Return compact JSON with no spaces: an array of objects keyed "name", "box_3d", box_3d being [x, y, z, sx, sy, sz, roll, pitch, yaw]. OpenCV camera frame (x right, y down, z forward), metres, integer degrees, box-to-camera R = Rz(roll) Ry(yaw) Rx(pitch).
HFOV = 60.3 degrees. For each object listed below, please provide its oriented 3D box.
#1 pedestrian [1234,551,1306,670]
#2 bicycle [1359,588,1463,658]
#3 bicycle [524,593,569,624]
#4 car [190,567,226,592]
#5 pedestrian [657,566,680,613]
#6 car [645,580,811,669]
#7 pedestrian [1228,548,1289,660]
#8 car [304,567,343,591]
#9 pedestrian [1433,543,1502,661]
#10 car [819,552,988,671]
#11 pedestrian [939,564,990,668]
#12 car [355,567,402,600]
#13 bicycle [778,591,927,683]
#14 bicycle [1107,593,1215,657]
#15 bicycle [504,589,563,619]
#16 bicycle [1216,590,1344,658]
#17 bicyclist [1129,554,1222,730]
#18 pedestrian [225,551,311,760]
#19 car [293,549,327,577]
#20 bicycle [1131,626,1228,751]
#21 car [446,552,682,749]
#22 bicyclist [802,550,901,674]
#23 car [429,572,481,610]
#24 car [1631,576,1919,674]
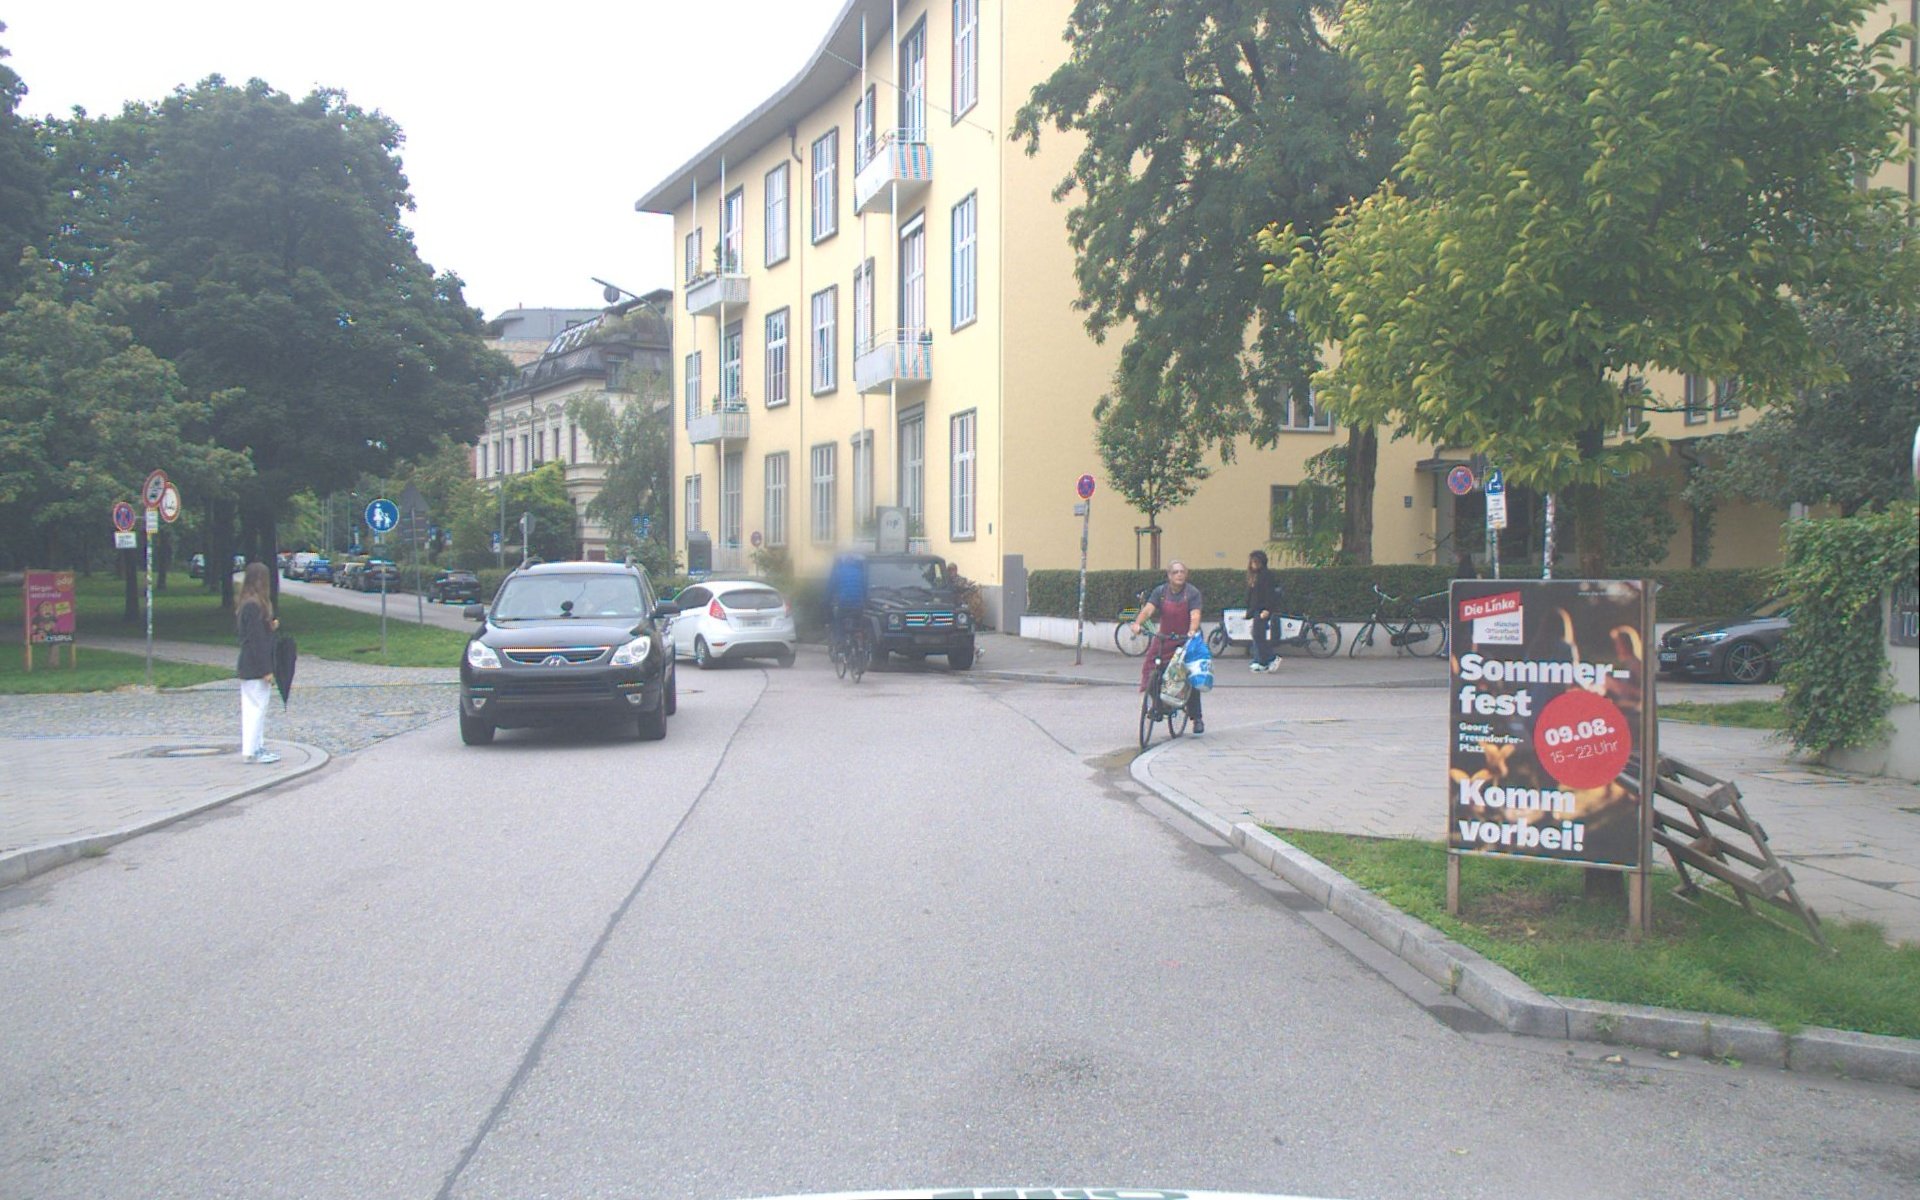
[{"name":"pedestrian","box_3d":[4.850,0.158,25.929,0.970,1.840,0.659,-1,1,-5]},{"name":"bicycle","box_3d":[7.654,0.384,28.075,1.649,1.150,0.460,-1,1,-5]},{"name":"bicycle","box_3d":[-14.729,0.305,58.936,1.526,1.032,0.403,-3,2,-45]},{"name":"car","box_3d":[-49.835,-1.351,109.566,1.971,1.628,4.427,-1,1,-28]},{"name":"pedestrian","box_3d":[-10.824,-0.386,61.358,0.624,1.713,0.692,-2,1,-27]},{"name":"car","box_3d":[-4.145,0.368,29.127,1.728,1.431,3.692,-1,1,-28]},{"name":"pedestrian","box_3d":[4.817,0.062,26.723,0.810,1.776,0.740,0,1,-5]},{"name":"car","box_3d":[-43.402,-1.454,112.774,1.972,1.628,4.214,-1,1,-29]},{"name":"pedestrian","box_3d":[8.398,0.026,27.380,0.833,1.890,0.766,-2,0,-5]},{"name":"car","box_3d":[-1.092,0.135,29.243,1.844,1.920,4.597,-1,1,-17]},{"name":"pedestrian","box_3d":[0.075,0.265,29.121,0.831,1.788,0.953,-1,1,-2]},{"name":"car","box_3d":[-31.316,-0.918,89.017,1.773,1.709,3.962,-1,1,-29]},{"name":"bicycle","box_3d":[-1.621,0.516,24.608,2.282,1.274,0.918,1,2,44]},{"name":"bicycle","box_3d":[3.575,0.458,29.523,1.913,1.103,0.526,-2,-1,39]},{"name":"bicycle","box_3d":[-15.136,0.125,58.755,1.960,1.046,0.610,-1,0,-42]},{"name":"bicycle","box_3d":[5.497,0.403,28.407,2.121,1.135,0.641,0,1,13]},{"name":"bicyclist","box_3d":[2.075,0.384,15.994,0.856,1.637,1.050,0,1,6]},{"name":"pedestrian","box_3d":[-5.911,0.455,14.156,0.533,1.726,0.664,-2,1,-16]},{"name":"car","box_3d":[-47.598,-2.703,121.108,2.040,2.000,4.938,-1,1,-25]},{"name":"bicycle","box_3d":[2.098,0.815,16.019,0.858,1.037,2.192,0,1,6]},{"name":"car","box_3d":[-3.950,0.401,17.233,1.956,1.749,4.607,-1,1,-8]},{"name":"bicyclist","box_3d":[-1.616,0.161,24.609,1.195,1.795,0.911,1,1,44]},{"name":"car","box_3d":[-21.841,-0.423,71.470,1.627,1.585,3.530,-1,1,-26]},{"name":"car","box_3d":[12.578,0.378,24.948,4.233,1.391,1.661,0,-2,-3]}]
